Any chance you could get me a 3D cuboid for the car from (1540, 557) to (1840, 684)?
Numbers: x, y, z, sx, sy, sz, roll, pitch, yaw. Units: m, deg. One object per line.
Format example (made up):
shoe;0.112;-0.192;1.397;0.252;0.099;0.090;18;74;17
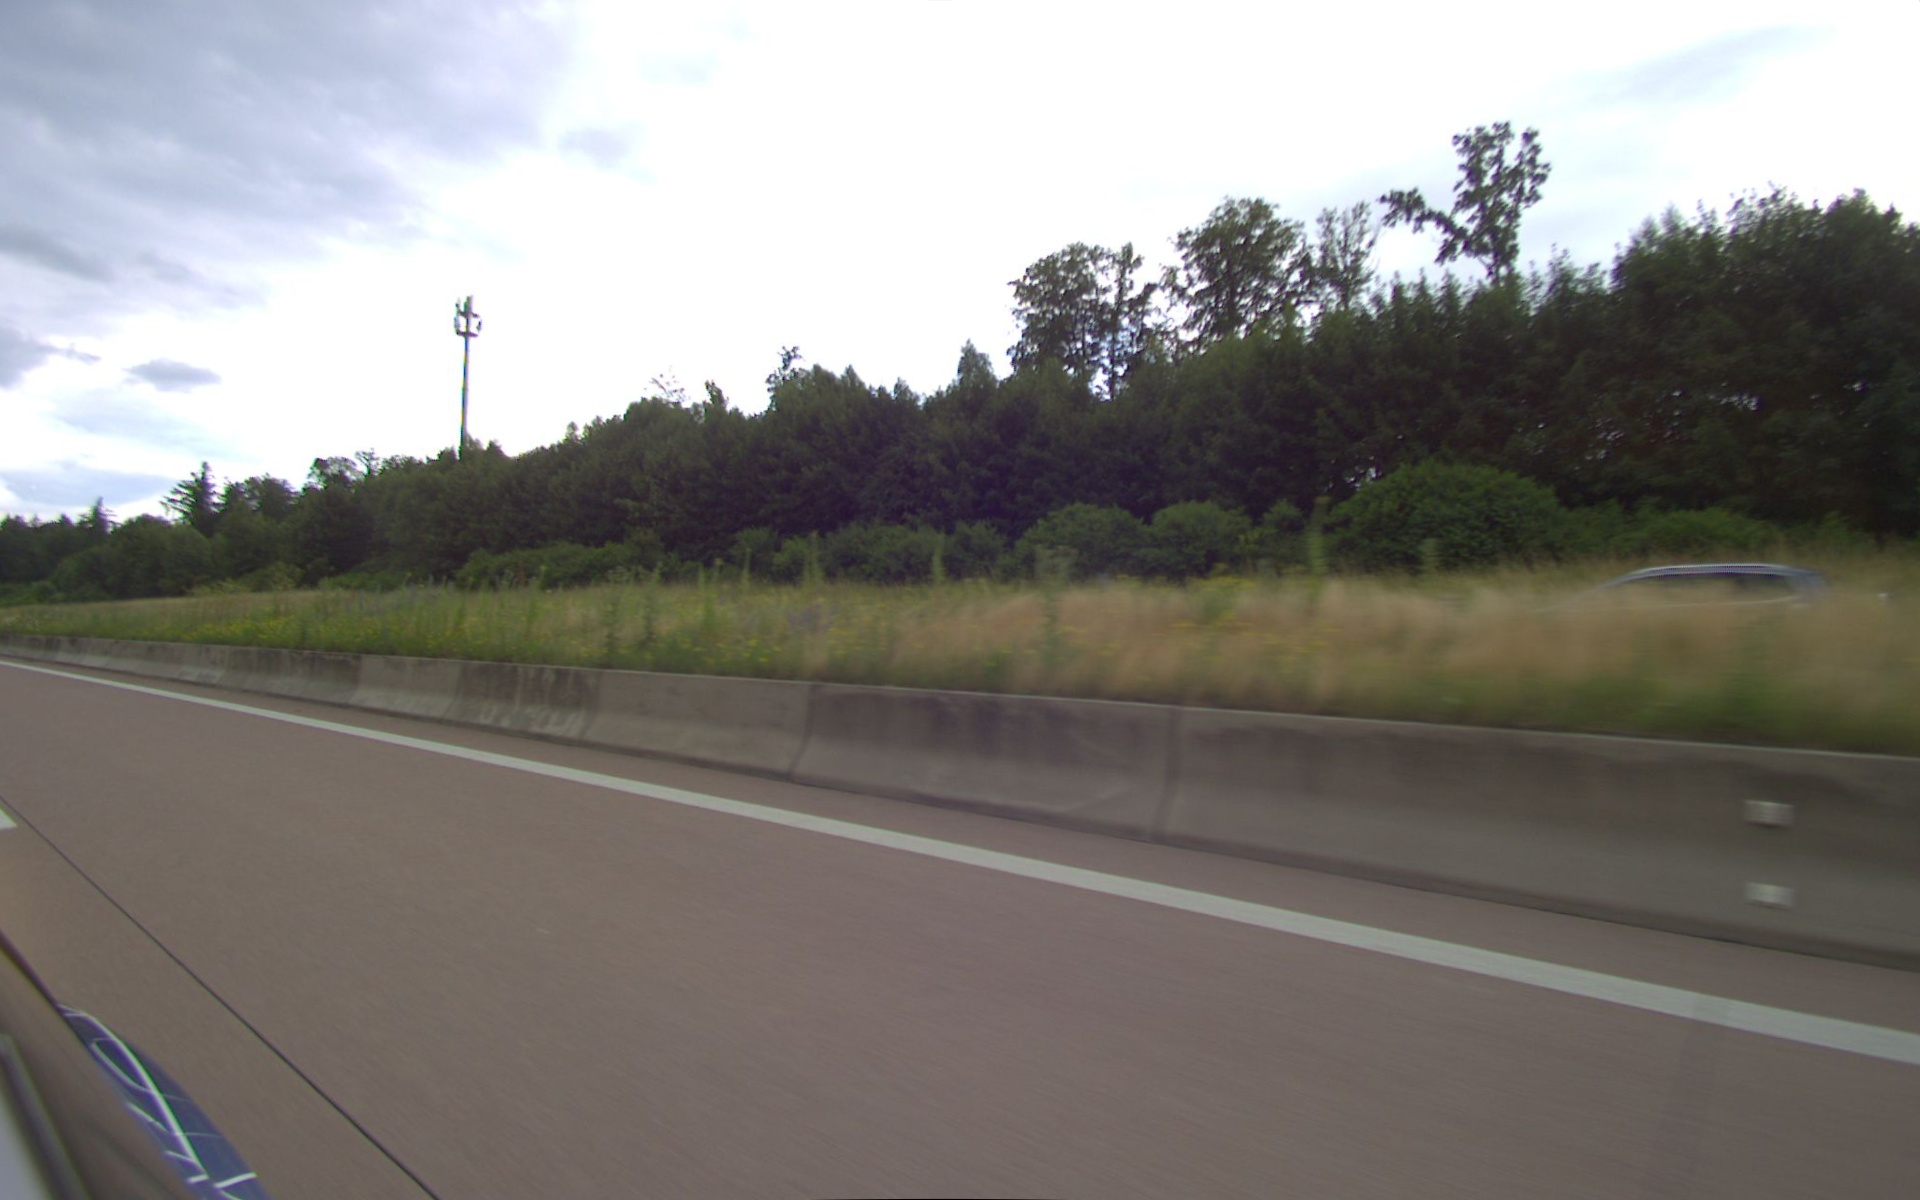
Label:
car;11.729;0.274;16.433;3.804;1.834;1.651;1;1;40
